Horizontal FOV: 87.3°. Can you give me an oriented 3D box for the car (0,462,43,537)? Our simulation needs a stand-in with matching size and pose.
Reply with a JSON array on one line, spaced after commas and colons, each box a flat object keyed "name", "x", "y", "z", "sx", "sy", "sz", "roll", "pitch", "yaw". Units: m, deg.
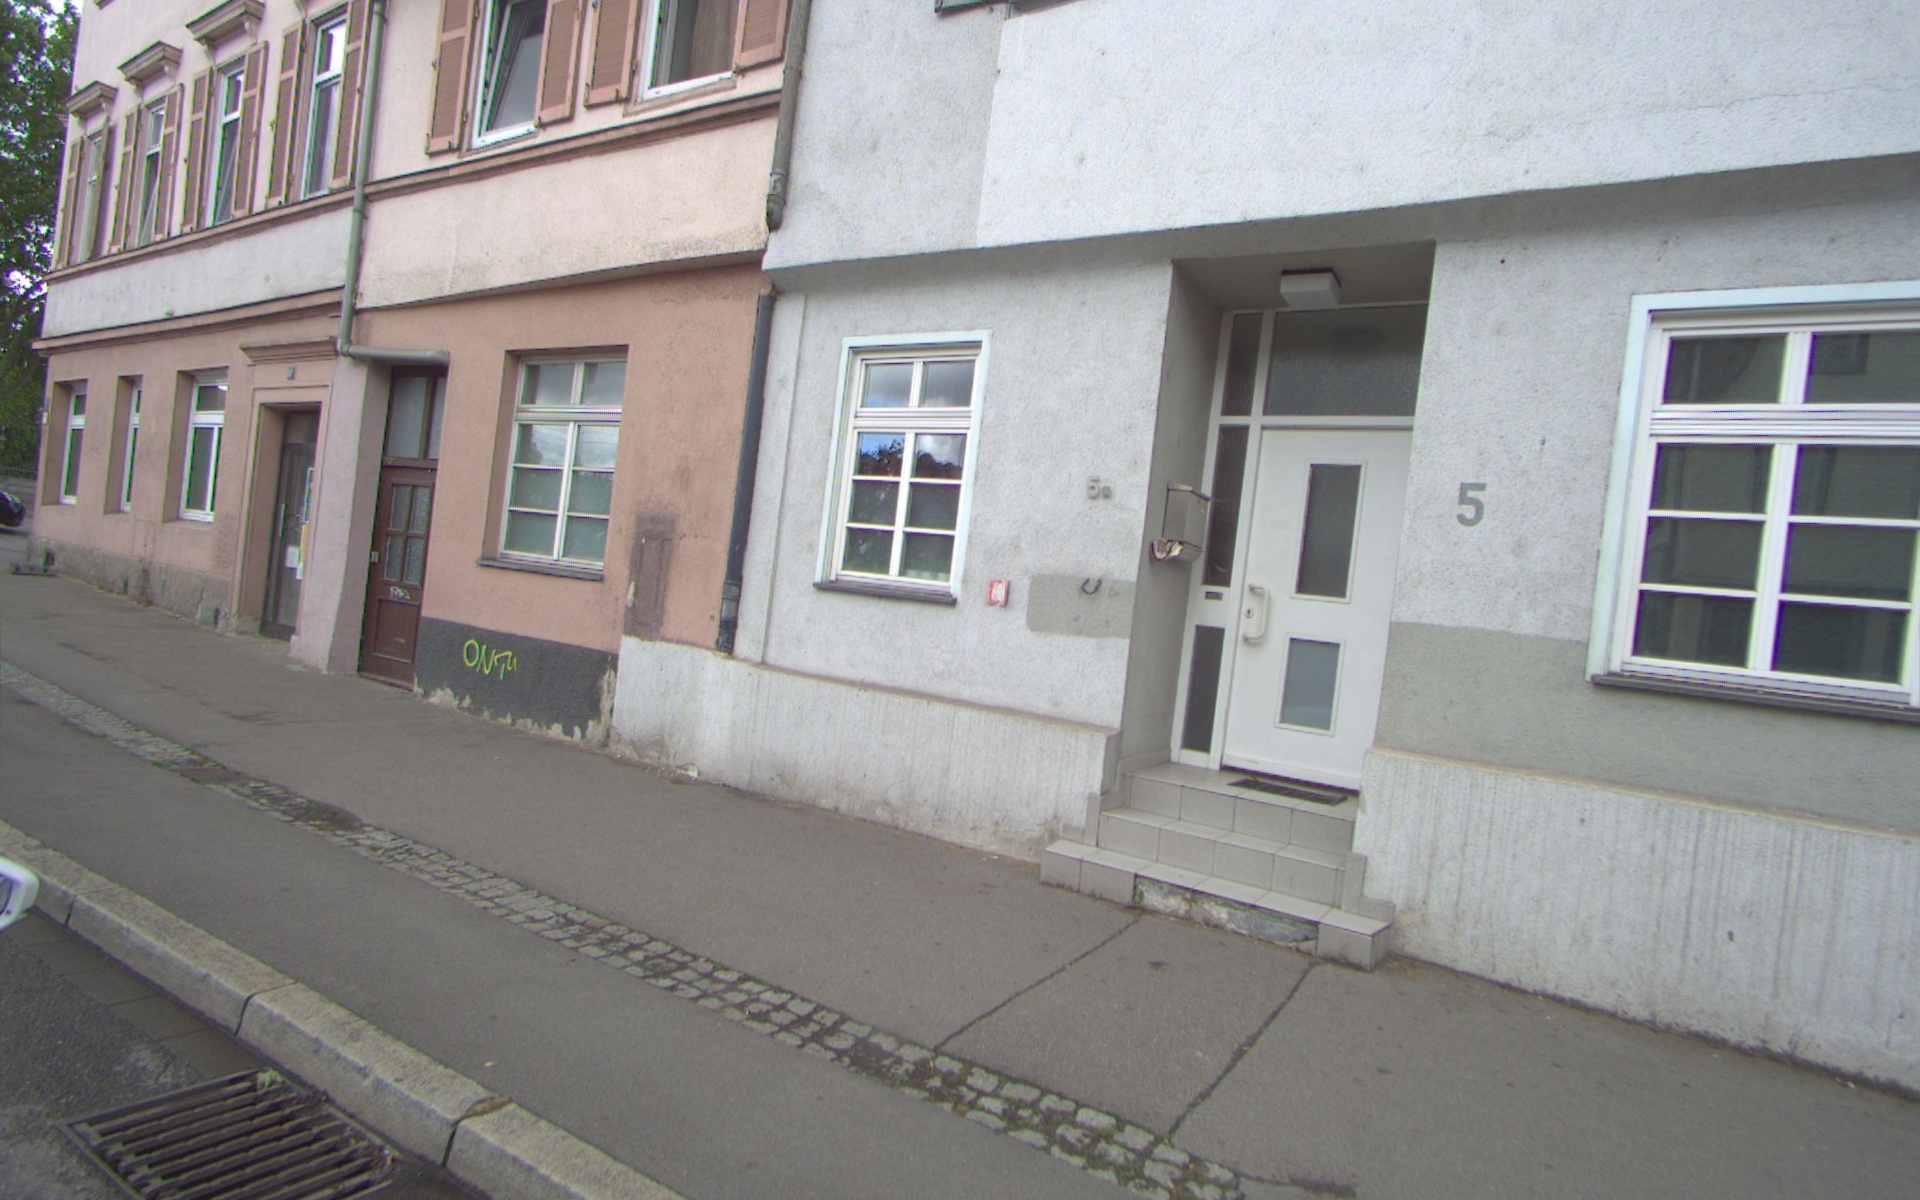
[{"name": "car", "x": -21.173, "y": -2.291, "z": 20.170, "sx": 1.799, "sy": 1.446, "sz": 3.745, "roll": 9, "pitch": 1, "yaw": 35}]
